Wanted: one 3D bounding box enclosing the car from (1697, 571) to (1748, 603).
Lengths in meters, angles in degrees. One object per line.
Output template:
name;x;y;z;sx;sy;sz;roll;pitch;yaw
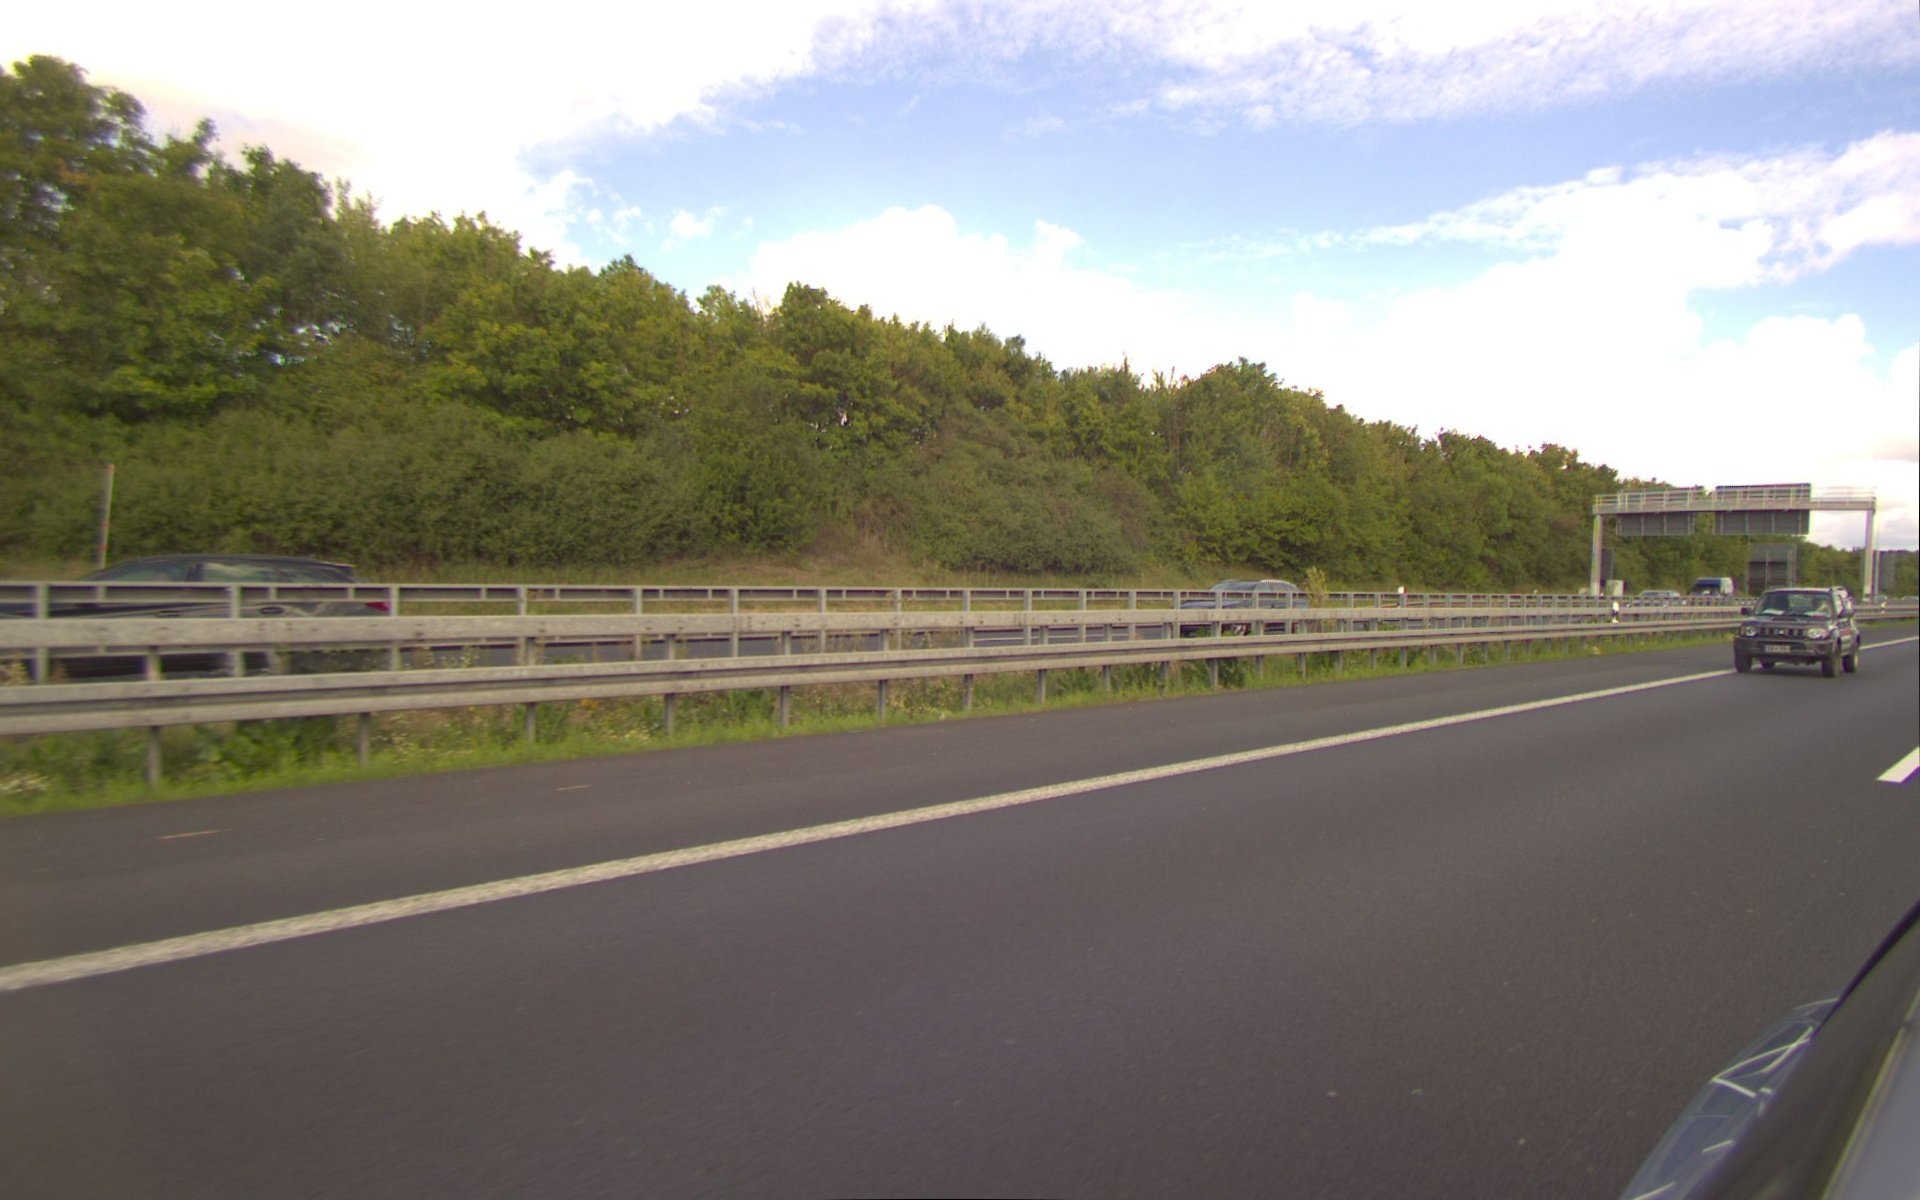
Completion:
car;55.644;-0.981;73.809;5.040;2.212;1.997;0;2;-42

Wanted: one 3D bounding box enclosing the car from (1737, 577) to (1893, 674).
car;17.461;0.450;20.616;4.131;1.754;1.670;0;2;-39

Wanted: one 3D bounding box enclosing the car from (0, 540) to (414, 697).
car;-8.621;0.134;11.486;3.931;1.502;1.997;0;2;-42

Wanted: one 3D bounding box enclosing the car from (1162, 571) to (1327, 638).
car;7.147;0.066;25.245;4.236;1.502;1.997;0;2;-42

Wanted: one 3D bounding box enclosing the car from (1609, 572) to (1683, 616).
car;34.301;-0.309;50.567;3.930;2.038;1.998;0;3;-41
